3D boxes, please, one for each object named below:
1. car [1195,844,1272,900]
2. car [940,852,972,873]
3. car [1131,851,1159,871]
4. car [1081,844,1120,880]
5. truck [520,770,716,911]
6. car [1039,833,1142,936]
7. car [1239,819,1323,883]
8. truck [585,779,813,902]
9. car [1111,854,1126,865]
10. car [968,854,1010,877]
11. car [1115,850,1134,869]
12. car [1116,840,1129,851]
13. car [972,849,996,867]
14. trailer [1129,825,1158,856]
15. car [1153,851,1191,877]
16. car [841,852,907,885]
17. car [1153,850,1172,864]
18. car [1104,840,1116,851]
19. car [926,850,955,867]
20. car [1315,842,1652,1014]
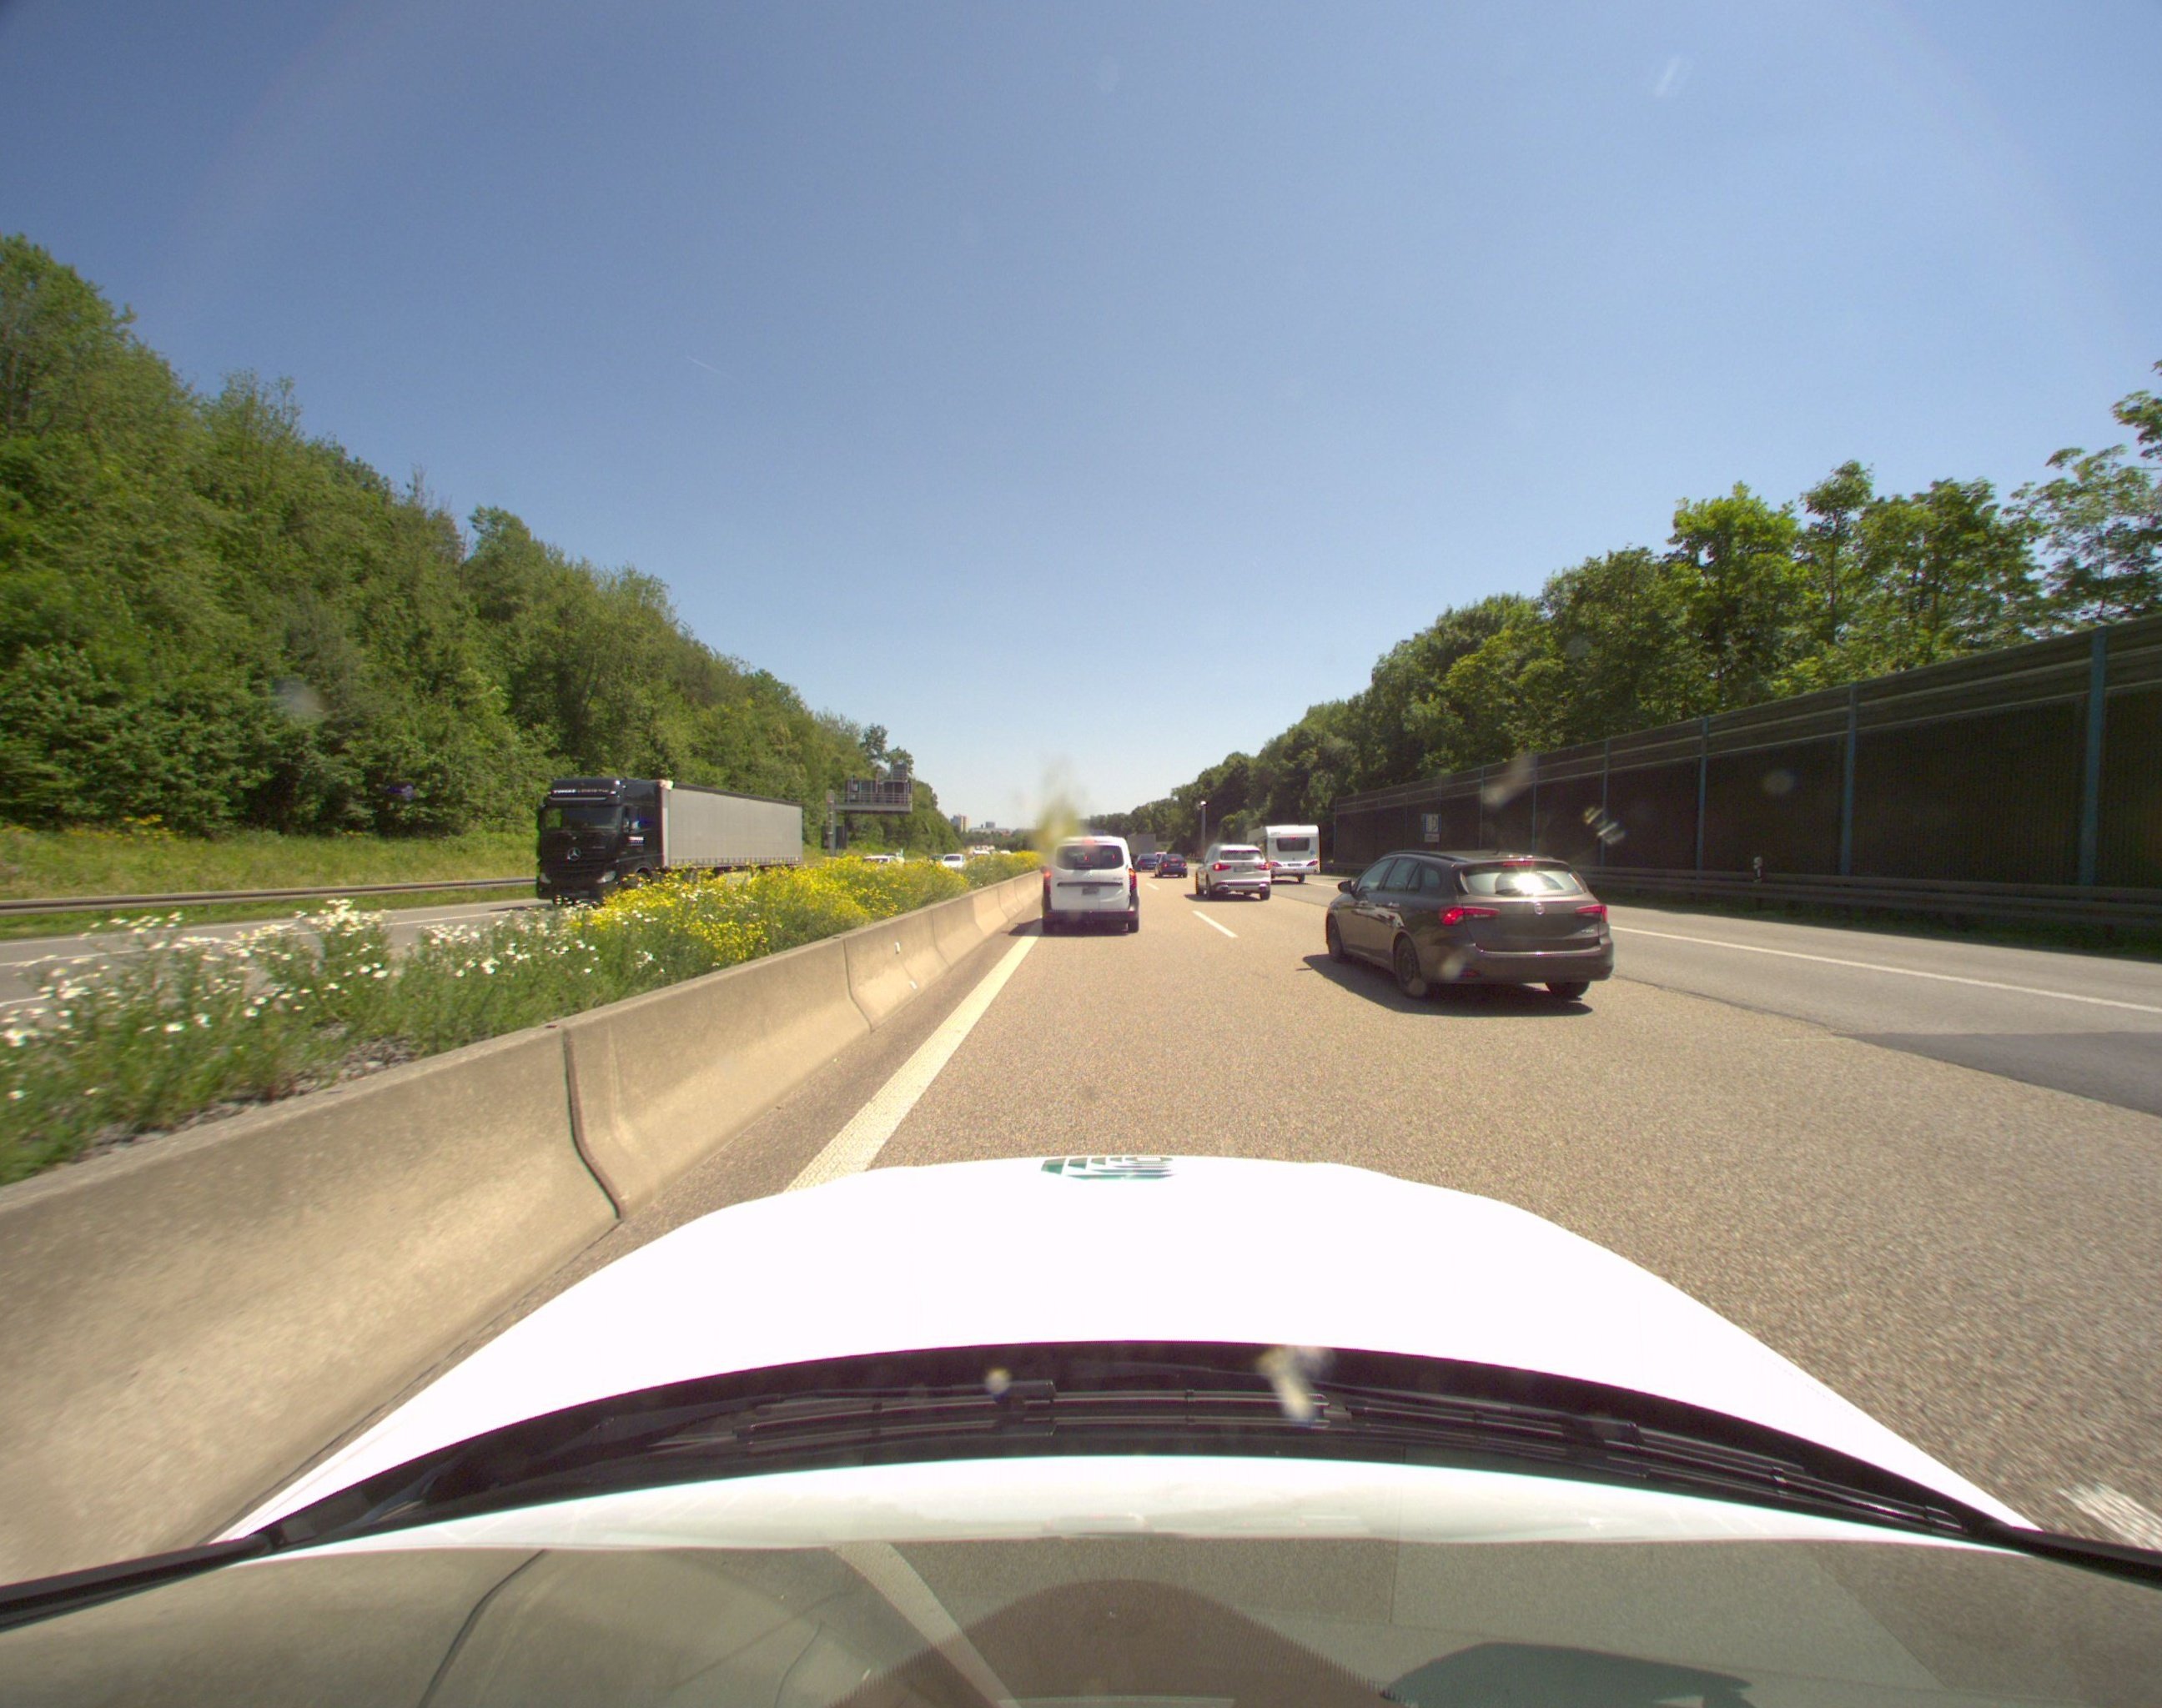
[{"bbox_3d":[4.705,0.502,25.644,1.863,1.608,3.881,0,1,2],"label":"car"},{"bbox_3d":[-9.158,0.592,60.030,1.669,1.498,3.884,-1,0,1],"label":"car"},{"bbox_3d":[4.882,0.512,62.494,1.818,1.424,4.000,-1,0,0],"label":"car"},{"bbox_3d":[1.005,0.410,44.216,1.987,1.860,4.000,-1,0,0],"label":"car"},{"bbox_3d":[-14.425,-0.407,26.006,2.820,3.939,6.005,-1,0,-1],"label":"truck"},{"bbox_3d":[0.295,0.531,16.416,1.794,1.808,4.004,-1,0,3],"label":"car"},{"bbox_3d":[9.273,-0.137,38.404,2.471,2.765,6.219,-1,0,0],"label":"car"},{"bbox_3d":[-14.491,-0.470,32.974,2.820,3.938,13.741,-1,0,-1],"label":"truck"},{"bbox_3d":[5.008,0.673,108.285,1.818,1.447,4.000,-1,0,0],"label":"car"},{"bbox_3d":[-5.563,0.662,49.912,1.986,1.340,4.249,-1,0,1],"label":"car"},{"bbox_3d":[4.736,0.616,88.650,1.818,1.989,4.000,-1,0,0],"label":"car"},{"bbox_3d":[7.255,-1.467,142.201,1.987,2.013,4.000,-1,0,0],"label":"car"},{"bbox_3d":[-10.174,0.399,85.901,1.878,1.755,4.277,-1,0,1],"label":"car"},{"bbox_3d":[8.386,-1.717,110.154,3.072,3.985,10.322,-1,0,0],"label":"trailer"},{"bbox_3d":[5.275,0.539,47.675,1.818,1.424,4.000,-1,0,0],"label":"car"},{"bbox_3d":[-9.948,0.675,39.492,1.986,1.498,4.249,-1,0,1],"label":"car"},{"bbox_3d":[9.121,0.332,91.346,1.818,1.424,4.000,-1,0,0],"label":"car"},{"bbox_3d":[5.738,-1.643,159.445,1.989,2.013,3.995,-1,0,-4],"label":"car"},{"bbox_3d":[-13.492,0.421,78.314,1.986,1.491,4.001,-1,0,1],"label":"car"},{"bbox_3d":[4.189,0.630,9.398,1.831,1.513,4.403,0,1,2],"label":"car"}]
